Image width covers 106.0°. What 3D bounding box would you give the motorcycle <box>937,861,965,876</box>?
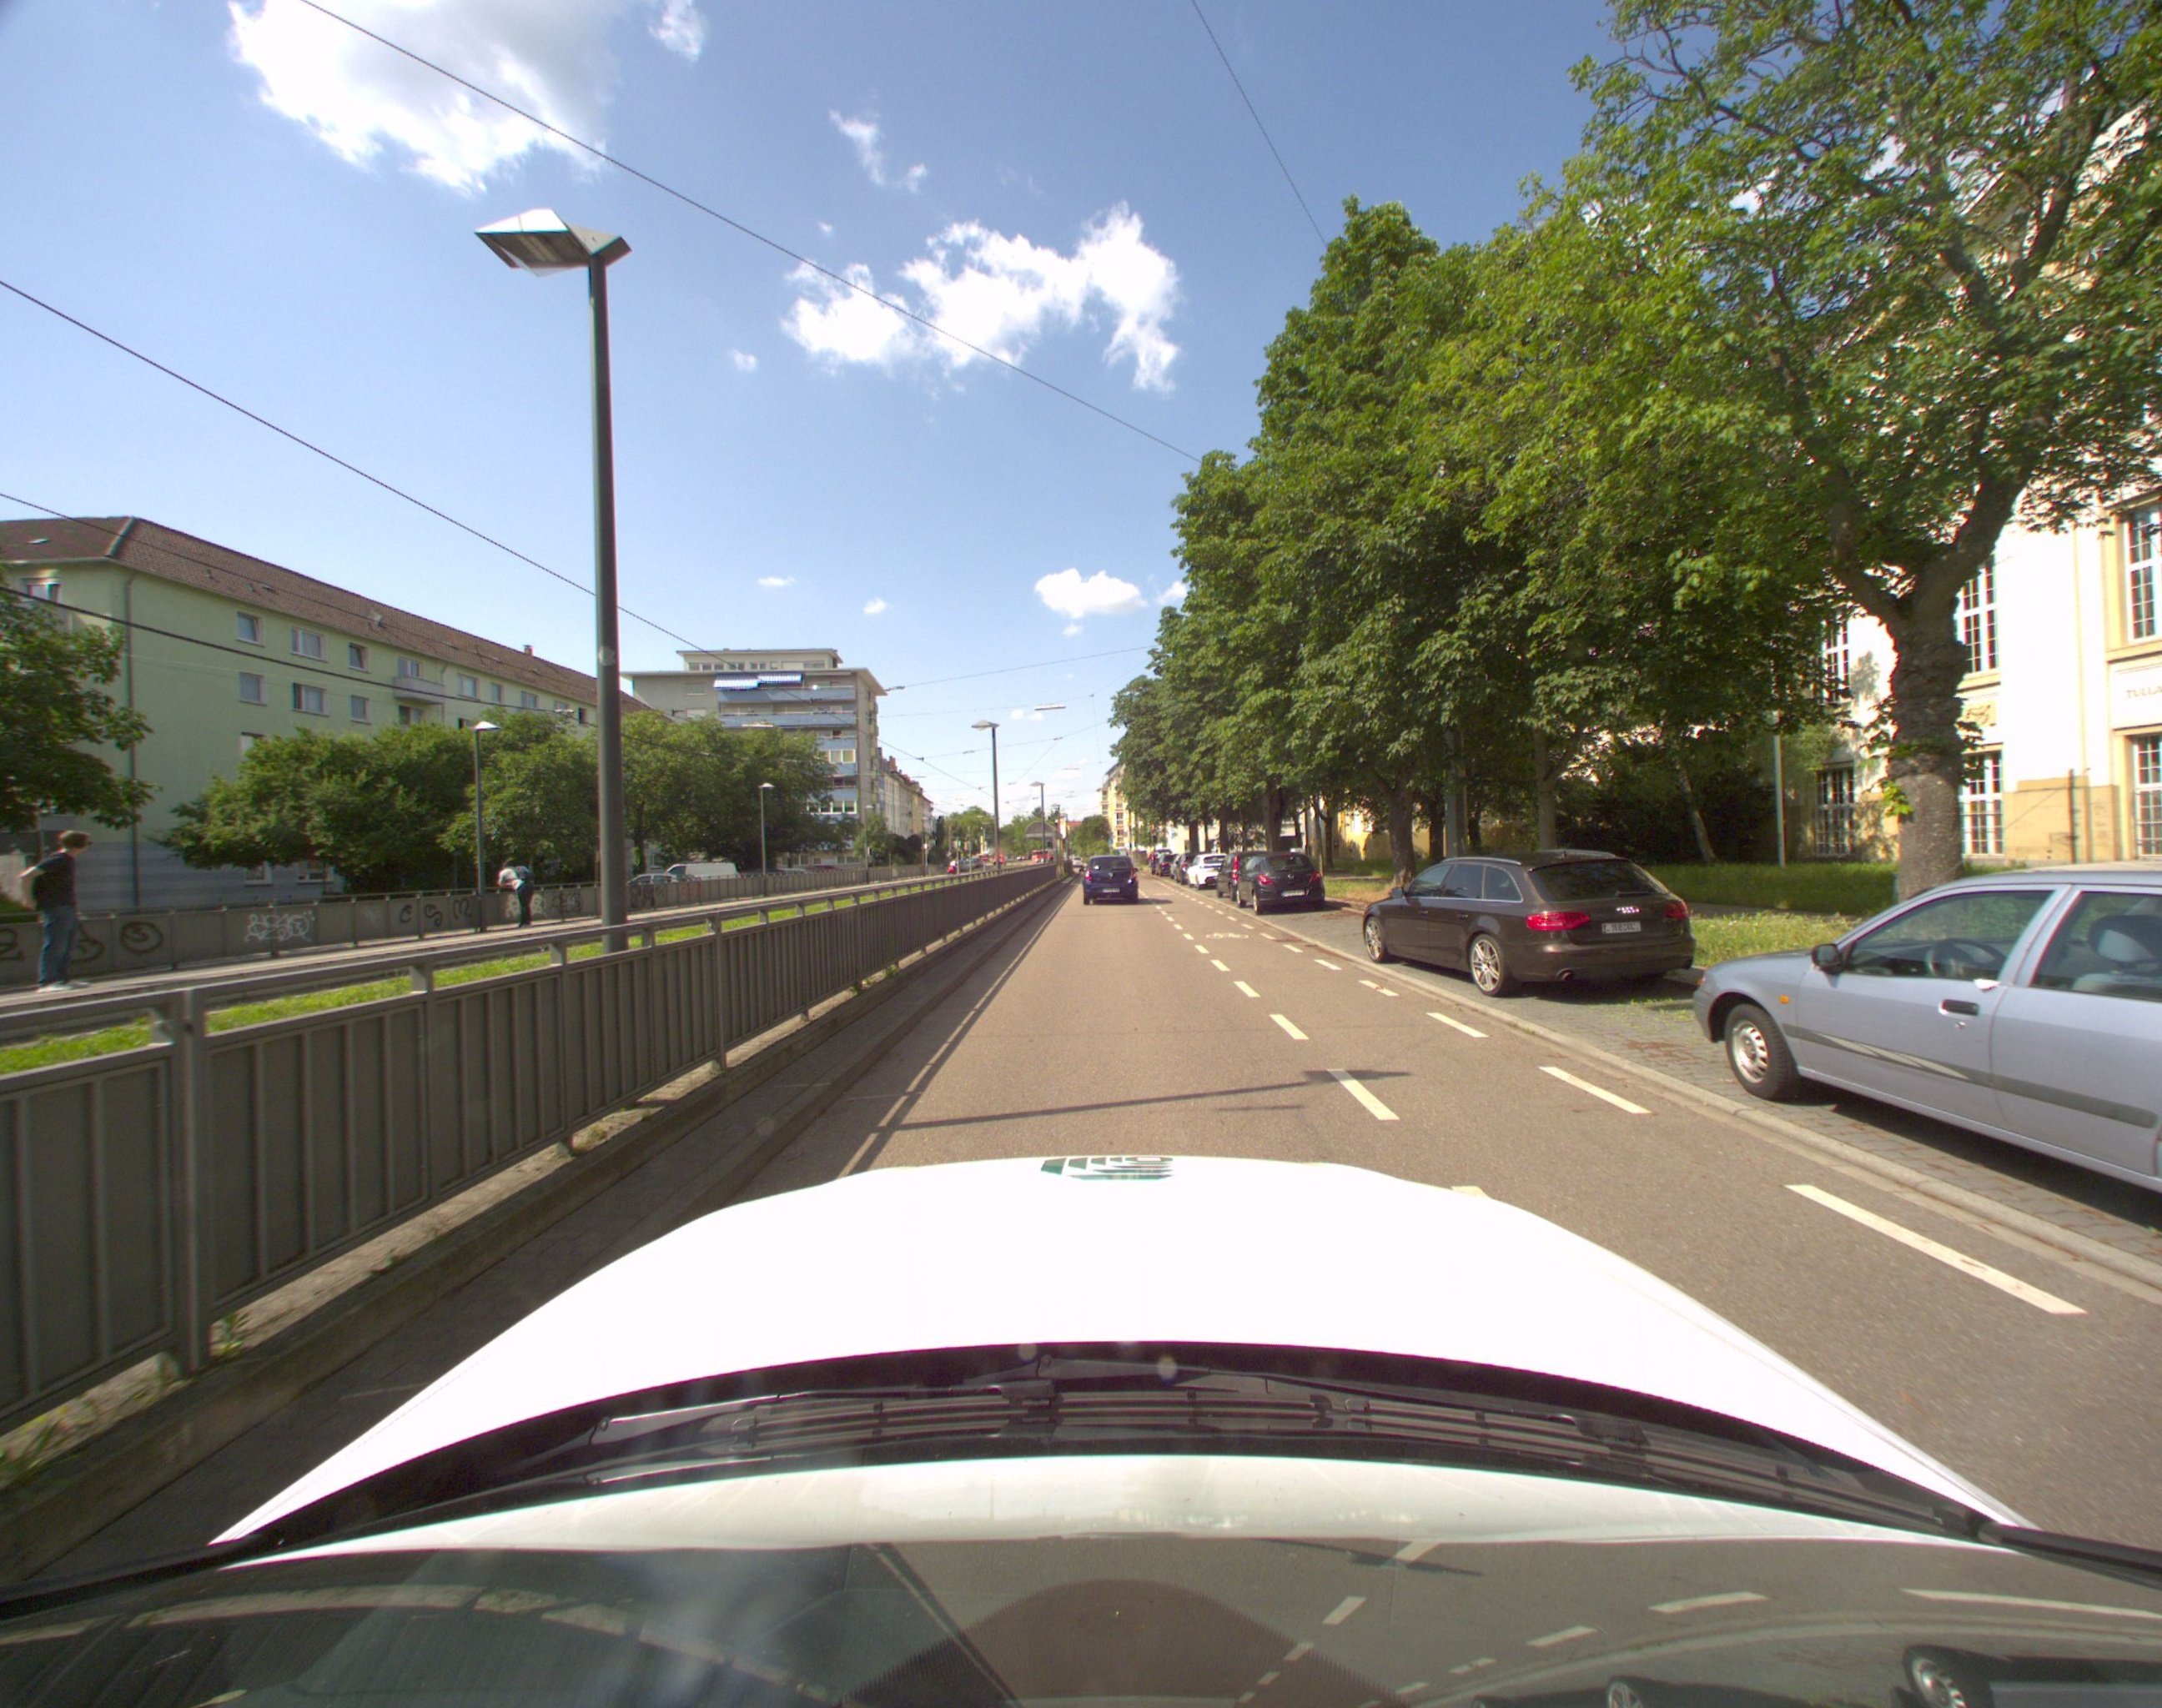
[{"bbox_3d":[-12.478,1.374,78.286,1.005,1.339,2.532,-3,0,43],"label":"motorcycle"}]

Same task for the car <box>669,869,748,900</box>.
[{"bbox_3d":[-21.499,1.713,47.023,3.964,1.579,1.702,-2,0,-31],"label":"car"}]

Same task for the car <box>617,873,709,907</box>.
[{"bbox_3d":[-21.277,1.795,41.524,4.015,1.485,1.593,-2,0,-32],"label":"car"}]

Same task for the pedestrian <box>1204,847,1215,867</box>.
[{"bbox_3d":[11.159,0.225,70.706,0.741,1.696,0.767,-3,0,2],"label":"pedestrian"}]

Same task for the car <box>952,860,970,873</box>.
[{"bbox_3d":[-16.299,1.665,110.555,1.989,1.645,3.996,0,-1,-3],"label":"car"}]

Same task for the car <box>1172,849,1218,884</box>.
[{"bbox_3d":[5.671,0.597,40.891,1.718,1.583,4.679,-3,0,2],"label":"car"}]

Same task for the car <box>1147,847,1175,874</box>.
[{"bbox_3d":[5.922,0.443,60.666,1.815,1.896,4.187,-3,0,3],"label":"car"}]

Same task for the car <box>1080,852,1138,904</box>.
[{"bbox_3d":[0.863,0.738,26.214,1.738,1.507,4.000,0,-1,1],"label":"car"}]

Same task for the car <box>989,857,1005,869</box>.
[{"bbox_3d":[-17.841,1.889,172.131,2.001,2.275,4.799,3,0,-22],"label":"car"}]

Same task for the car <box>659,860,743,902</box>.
[{"bbox_3d":[-20.781,1.445,44.537,3.964,2.070,2.030,-2,0,-30],"label":"car"}]

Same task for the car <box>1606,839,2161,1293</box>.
[{"bbox_3d":[4.515,0.708,3.817,1.629,1.431,4.019,-5,0,4],"label":"car"}]

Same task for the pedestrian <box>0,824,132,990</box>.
[{"bbox_3d":[-12.138,0.626,9.757,0.747,1.892,0.639,-2,-2,3],"label":"pedestrian"}]

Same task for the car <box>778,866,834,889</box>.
[{"bbox_3d":[-20.657,1.759,61.230,3.678,1.579,1.633,-2,0,-30],"label":"car"}]

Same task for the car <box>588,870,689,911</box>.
[{"bbox_3d":[-21.066,1.691,38.826,4.018,1.639,1.807,-2,1,-36],"label":"car"}]

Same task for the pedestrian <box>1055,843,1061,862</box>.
[{"bbox_3d":[-2.050,-0.162,72.638,0.516,1.648,0.530,-3,-1,-2],"label":"pedestrian"}]

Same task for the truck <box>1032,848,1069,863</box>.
[{"bbox_3d":[-7.283,0.360,194.853,8.405,3.185,2.581,-4,0,-28],"label":"truck"}]

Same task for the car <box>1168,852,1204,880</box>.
[{"bbox_3d":[5.933,0.663,46.300,1.585,1.445,3.599,-4,-1,2],"label":"car"}]

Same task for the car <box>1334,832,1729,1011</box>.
[{"bbox_3d":[4.828,0.648,9.759,1.827,1.467,4.826,-4,-1,-2],"label":"car"}]

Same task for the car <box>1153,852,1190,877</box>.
[{"bbox_3d":[6.091,0.670,55.303,1.911,1.442,4.796,-5,0,0],"label":"car"}]

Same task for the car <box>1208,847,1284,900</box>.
[{"bbox_3d":[5.294,0.617,26.553,1.551,1.461,3.556,-6,-1,-1],"label":"car"}]

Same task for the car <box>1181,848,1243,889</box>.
[{"bbox_3d":[5.591,0.610,35.290,1.830,1.523,4.251,-4,0,-1],"label":"car"}]

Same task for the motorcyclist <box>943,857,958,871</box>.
[{"bbox_3d":[-12.544,0.952,78.185,0.929,1.339,0.992,-3,0,43],"label":"motorcyclist"}]

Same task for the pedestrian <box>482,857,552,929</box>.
[{"bbox_3d":[-12.926,0.889,18.696,0.986,1.578,0.798,-2,-1,-2],"label":"pedestrian"}]

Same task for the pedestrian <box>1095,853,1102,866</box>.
[{"bbox_3d":[2.357,0.759,109.985,0.699,1.789,1.029,-5,0,-2],"label":"pedestrian"}]

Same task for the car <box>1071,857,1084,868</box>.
[{"bbox_3d":[-0.482,1.153,110.672,1.618,1.465,3.506,0,-1,-3],"label":"car"}]

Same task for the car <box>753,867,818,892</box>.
[{"bbox_3d":[-20.365,1.762,56.141,4.039,1.514,1.594,-2,0,-29],"label":"car"}]

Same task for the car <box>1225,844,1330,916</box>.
[{"bbox_3d":[5.018,0.616,21.358,1.685,1.561,4.308,-5,0,1],"label":"car"}]
